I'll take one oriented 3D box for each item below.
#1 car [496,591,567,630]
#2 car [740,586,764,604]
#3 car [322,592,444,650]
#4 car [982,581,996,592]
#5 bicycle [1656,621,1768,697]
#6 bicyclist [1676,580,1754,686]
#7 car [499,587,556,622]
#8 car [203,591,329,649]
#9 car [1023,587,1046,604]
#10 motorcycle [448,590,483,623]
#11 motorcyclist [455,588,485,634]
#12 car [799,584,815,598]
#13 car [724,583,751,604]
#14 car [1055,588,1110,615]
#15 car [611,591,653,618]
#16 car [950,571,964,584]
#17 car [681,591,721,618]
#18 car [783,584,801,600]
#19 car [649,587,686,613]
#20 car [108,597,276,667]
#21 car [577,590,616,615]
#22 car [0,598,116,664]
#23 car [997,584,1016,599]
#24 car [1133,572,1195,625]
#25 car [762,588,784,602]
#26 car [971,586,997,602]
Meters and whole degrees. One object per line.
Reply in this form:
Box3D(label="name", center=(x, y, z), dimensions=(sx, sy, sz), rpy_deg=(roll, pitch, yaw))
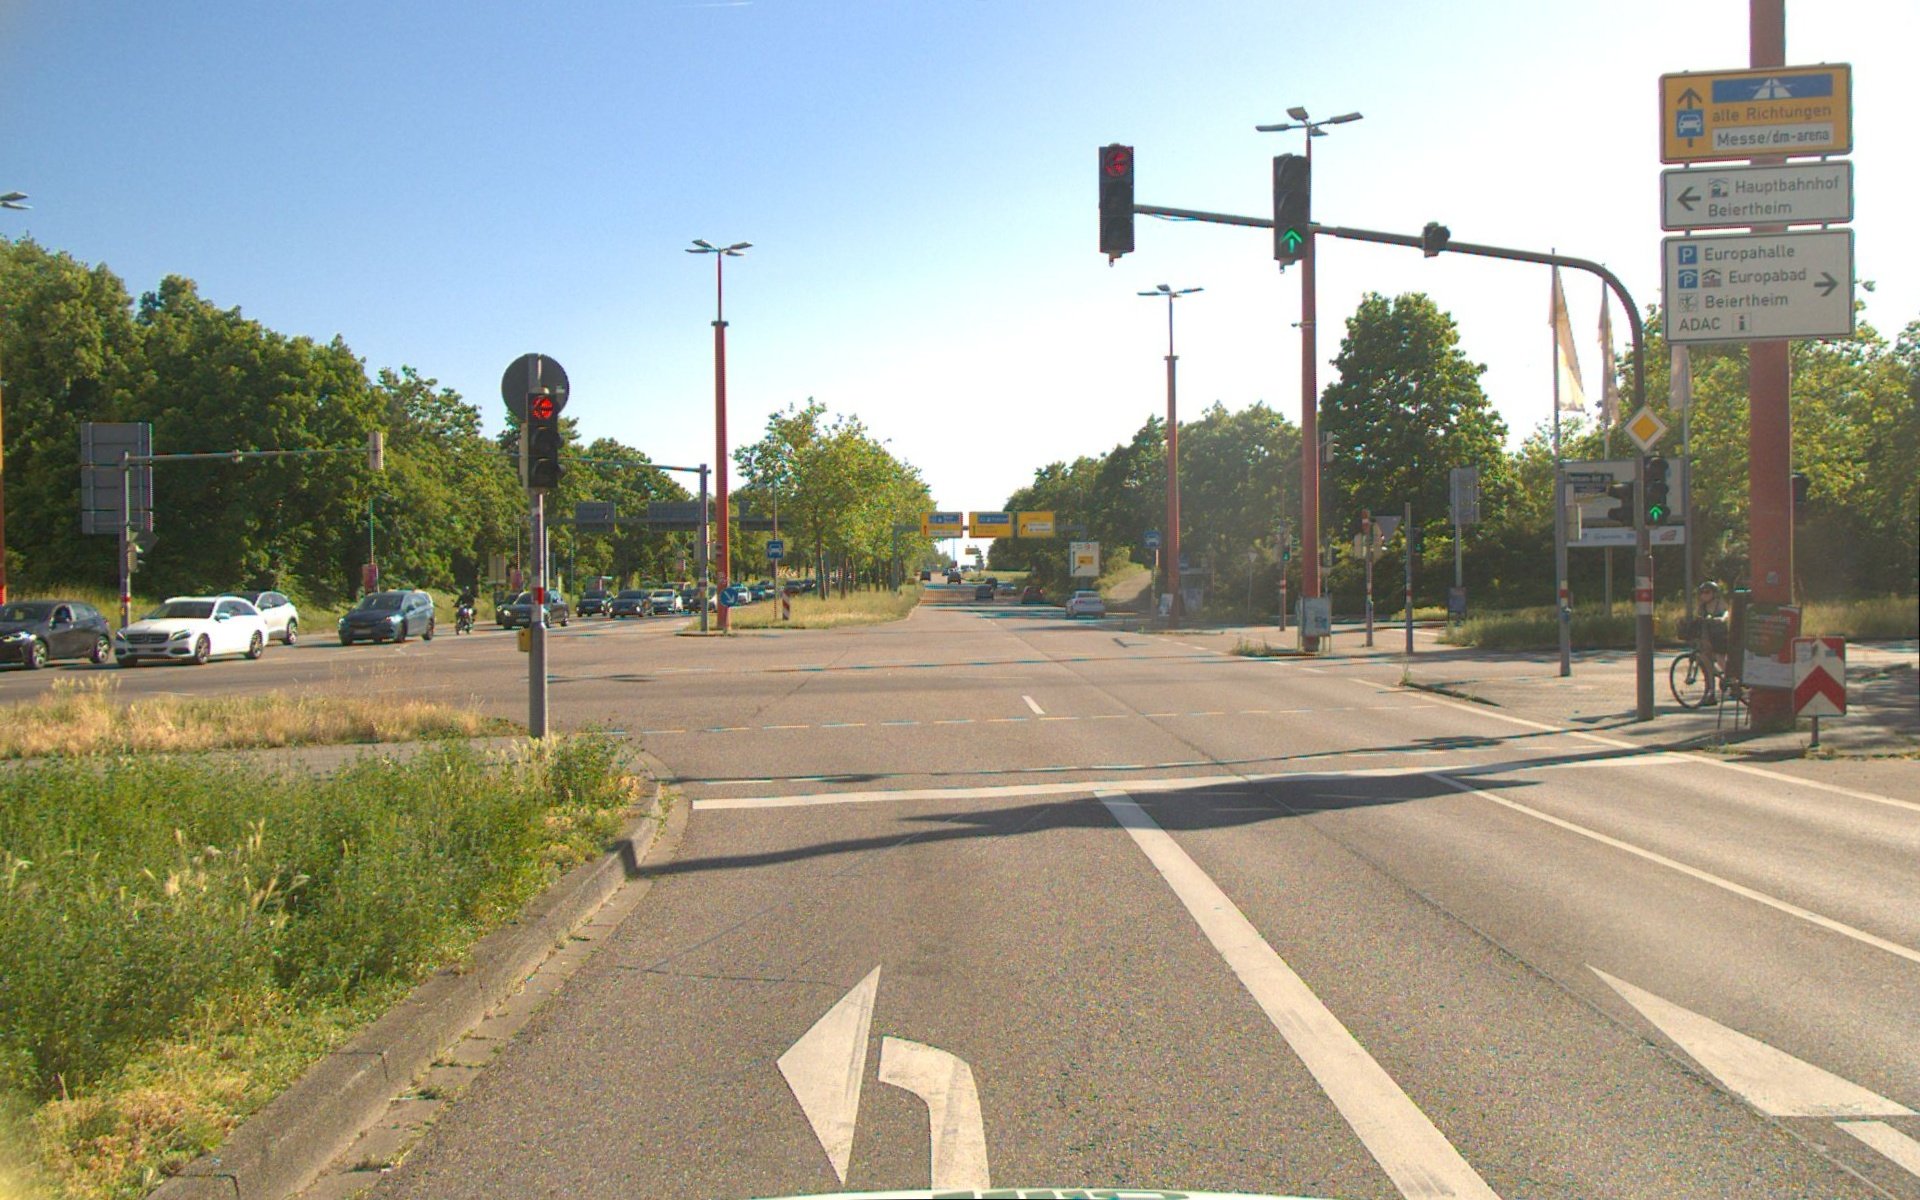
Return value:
Box3D(label="car", center=(-17.327, 0.401, 67.101), dimensions=(1.838, 1.511, 4.603), rpy_deg=(1, 0, -2))
Box3D(label="car", center=(-18.765, -0.482, 149.405), dimensions=(1.669, 1.586, 3.803), rpy_deg=(1, 0, 0))
Box3D(label="car", center=(-17.103, 0.580, 49.257), dimensions=(1.952, 1.622, 4.464), rpy_deg=(-1, 0, 1))
Box3D(label="car", center=(4.082, -1.931, 231.805), dimensions=(1.952, 1.567, 4.002), rpy_deg=(0, 0, 3))
Box3D(label="bicycle", center=(9.912, 0.755, 21.760), dimensions=(2.151, 0.894, 0.551), rpy_deg=(-1, 1, -43))
Box3D(label="bicyclist", center=(9.969, 0.427, 21.841), dimensions=(0.735, 1.365, 0.697), rpy_deg=(-1, 0, -40))
Box3D(label="car", center=(-20.942, 0.215, 80.289), dimensions=(1.838, 1.603, 3.998), rpy_deg=(1, 0, -2))
Box3D(label="car", center=(-20.693, 0.566, 49.508), dimensions=(1.800, 1.629, 4.438), rpy_deg=(-1, 0, 1))
Box3D(label="car", center=(6.154, -0.394, 137.147), dimensions=(1.702, 1.365, 3.081), rpy_deg=(0, 0, -1))
Box3D(label="motorcycle", center=(-17.620, 0.230, 59.020), dimensions=(0.412, 1.151, 2.096), rpy_deg=(0, 0, 6))
Box3D(label="motorcyclist", center=(-17.529, 0.400, 59.164), dimensions=(0.817, 1.627, 0.641), rpy_deg=(0, 0, 6))
Box3D(label="car", center=(-19.185, -1.141, 207.454), dimensions=(1.623, 1.778, 4.000), rpy_deg=(0, 0, 0))
Box3D(label="car", center=(-18.397, -0.529, 136.814), dimensions=(1.669, 1.624, 4.000), rpy_deg=(1, 0, 0))
Box3D(label="car", center=(6.440, 0.052, 87.632), dimensions=(2.016, 1.395, 4.383), rpy_deg=(-1, 0, -8))
Box3D(label="car", center=(-17.646, 0.212, 89.102), dimensions=(1.517, 1.401, 4.261), rpy_deg=(0, 0, -1))
Box3D(label="car", center=(-0.422, -3.497, 259.288), dimensions=(2.111, 2.049, 4.000), rpy_deg=(-1, 1, -1))
Box3D(label="car", center=(-14.805, 0.274, 94.772), dimensions=(1.666, 1.446, 3.999), rpy_deg=(3, 0, -1))
Box3D(label="car", center=(-19.017, -0.939, 187.544), dimensions=(1.592, 1.769, 4.000), rpy_deg=(0, 0, 0))
Box3D(label="car", center=(-17.617, -0.006, 99.804), dimensions=(1.572, 1.485, 3.950), rpy_deg=(0, 0, 0))
Box3D(label="car", center=(-17.236, 0.673, 37.368), dimensions=(1.669, 1.448, 4.642), rpy_deg=(-1, 0, -1))
Box3D(label="car", center=(-22.058, 0.140, 100.364), dimensions=(1.513, 1.458, 3.885), rpy_deg=(-2, 0, -1))
Box3D(label="car", center=(-20.418, 0.652, 36.277), dimensions=(1.824, 1.365, 4.029), rpy_deg=(-1, 0, -2))
Box3D(label="car", center=(5.054, -0.909, 180.103), dimensions=(1.953, 1.567, 3.999), rpy_deg=(1, 0, -1))
Box3D(label="car", center=(7.697, -0.073, 62.084), dimensions=(1.951, 1.920, 4.004), rpy_deg=(0, 0, 12))
Box3D(label="car", center=(-18.207, -0.495, 161.342), dimensions=(1.964, 1.330, 3.997), rpy_deg=(0, 0, -4))
Box3D(label="car", center=(2.259, -0.594, 156.359), dimensions=(1.955, 1.523, 3.995), rpy_deg=(0, 0, -6))
